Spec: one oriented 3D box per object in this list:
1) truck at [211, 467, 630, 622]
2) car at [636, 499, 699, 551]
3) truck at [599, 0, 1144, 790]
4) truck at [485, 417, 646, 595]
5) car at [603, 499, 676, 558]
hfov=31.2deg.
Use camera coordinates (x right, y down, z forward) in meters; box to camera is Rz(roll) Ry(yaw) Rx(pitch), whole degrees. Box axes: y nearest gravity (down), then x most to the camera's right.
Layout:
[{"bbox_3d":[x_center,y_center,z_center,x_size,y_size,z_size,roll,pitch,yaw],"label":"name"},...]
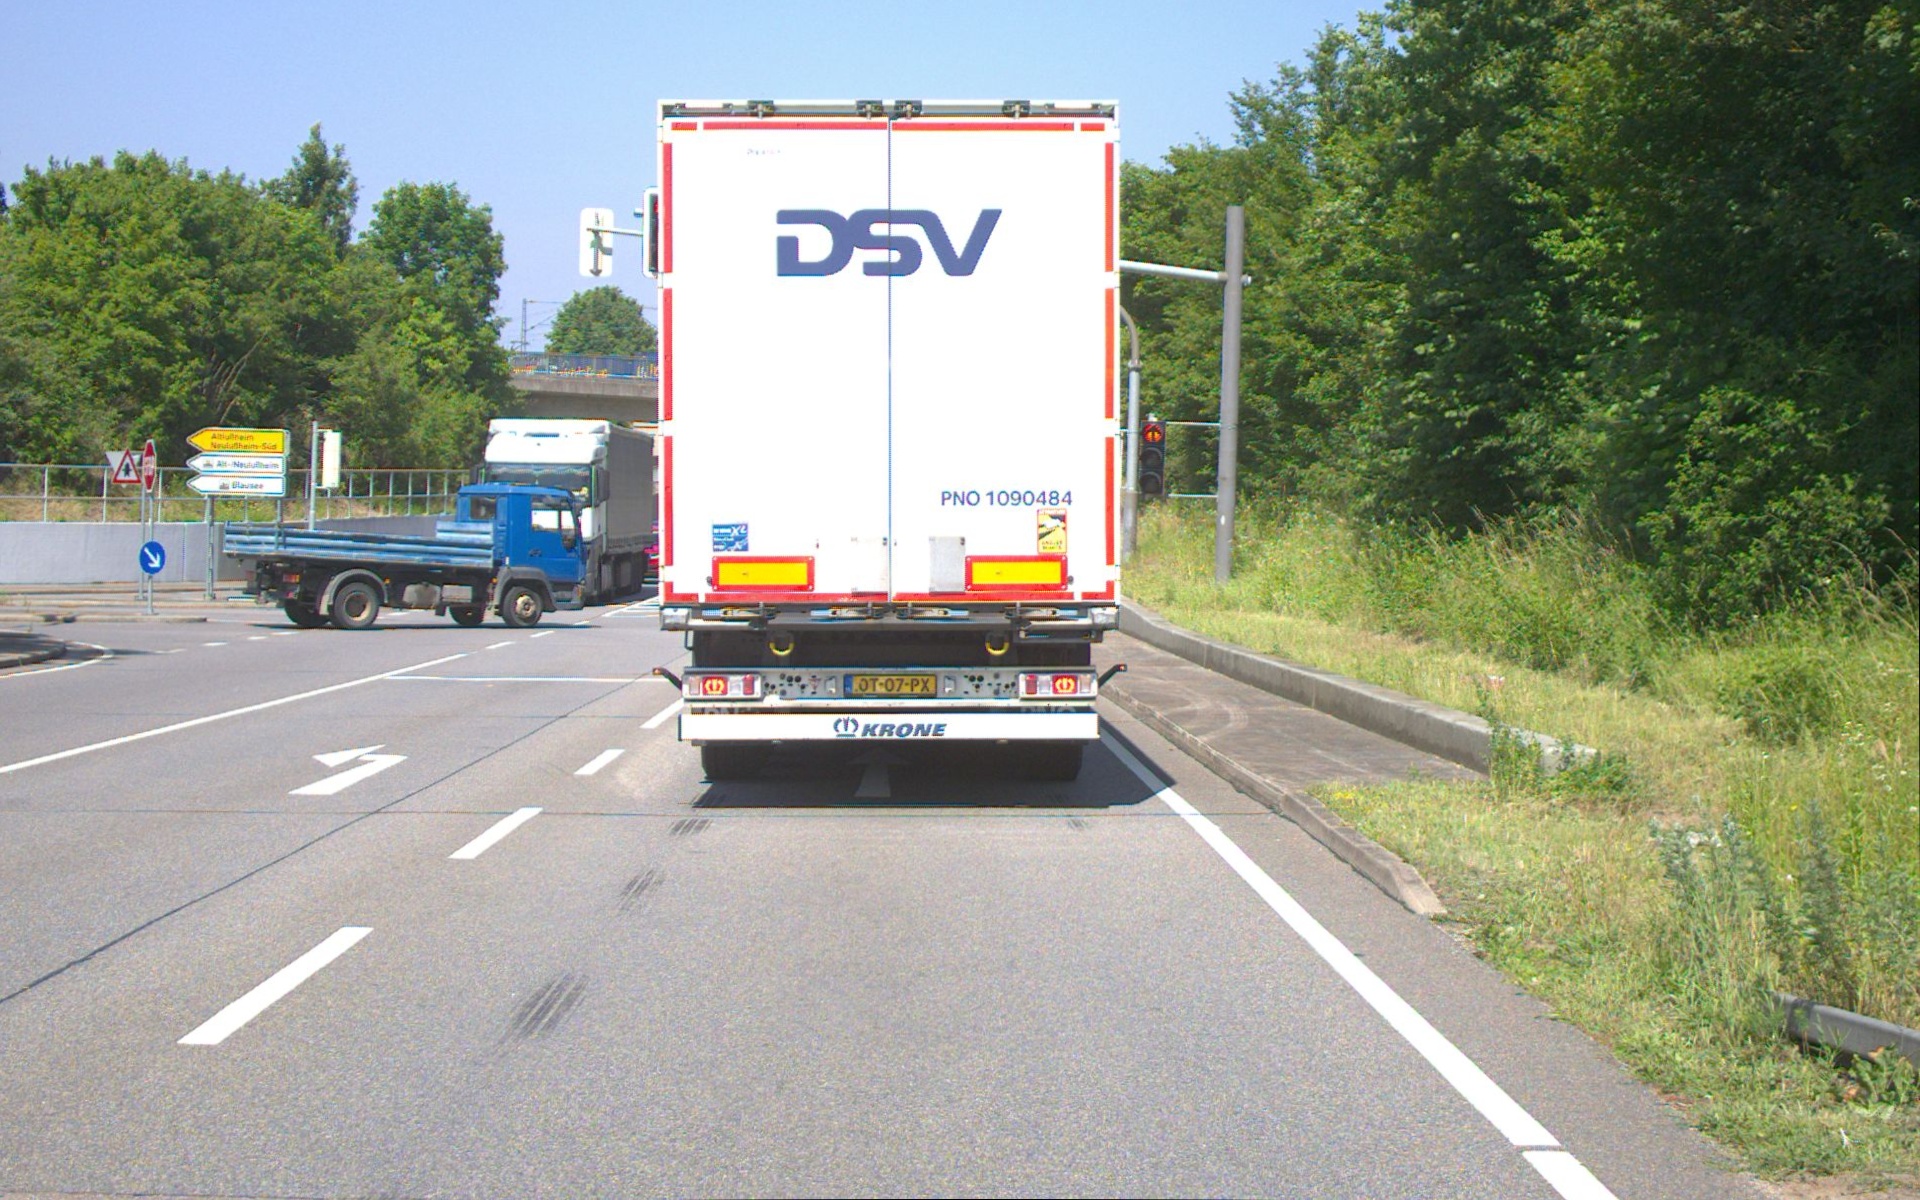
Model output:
[{"bbox_3d":[-9.054,-0.912,57.969,6.411,2.490,2.714,0,1,-35],"label":"truck"},{"bbox_3d":[-9.276,-2.388,109.349,1.747,1.620,3.704,0,2,-1],"label":"car"},{"bbox_3d":[-0.545,-1.343,23.733,2.950,4.553,9.863,0,1,-1],"label":"truck"},{"bbox_3d":[-8.884,-2.164,78.749,2.353,3.737,12.626,0,2,-1],"label":"truck"},{"bbox_3d":[-8.936,-2.007,95.982,1.747,1.620,3.704,0,2,-1],"label":"car"}]
